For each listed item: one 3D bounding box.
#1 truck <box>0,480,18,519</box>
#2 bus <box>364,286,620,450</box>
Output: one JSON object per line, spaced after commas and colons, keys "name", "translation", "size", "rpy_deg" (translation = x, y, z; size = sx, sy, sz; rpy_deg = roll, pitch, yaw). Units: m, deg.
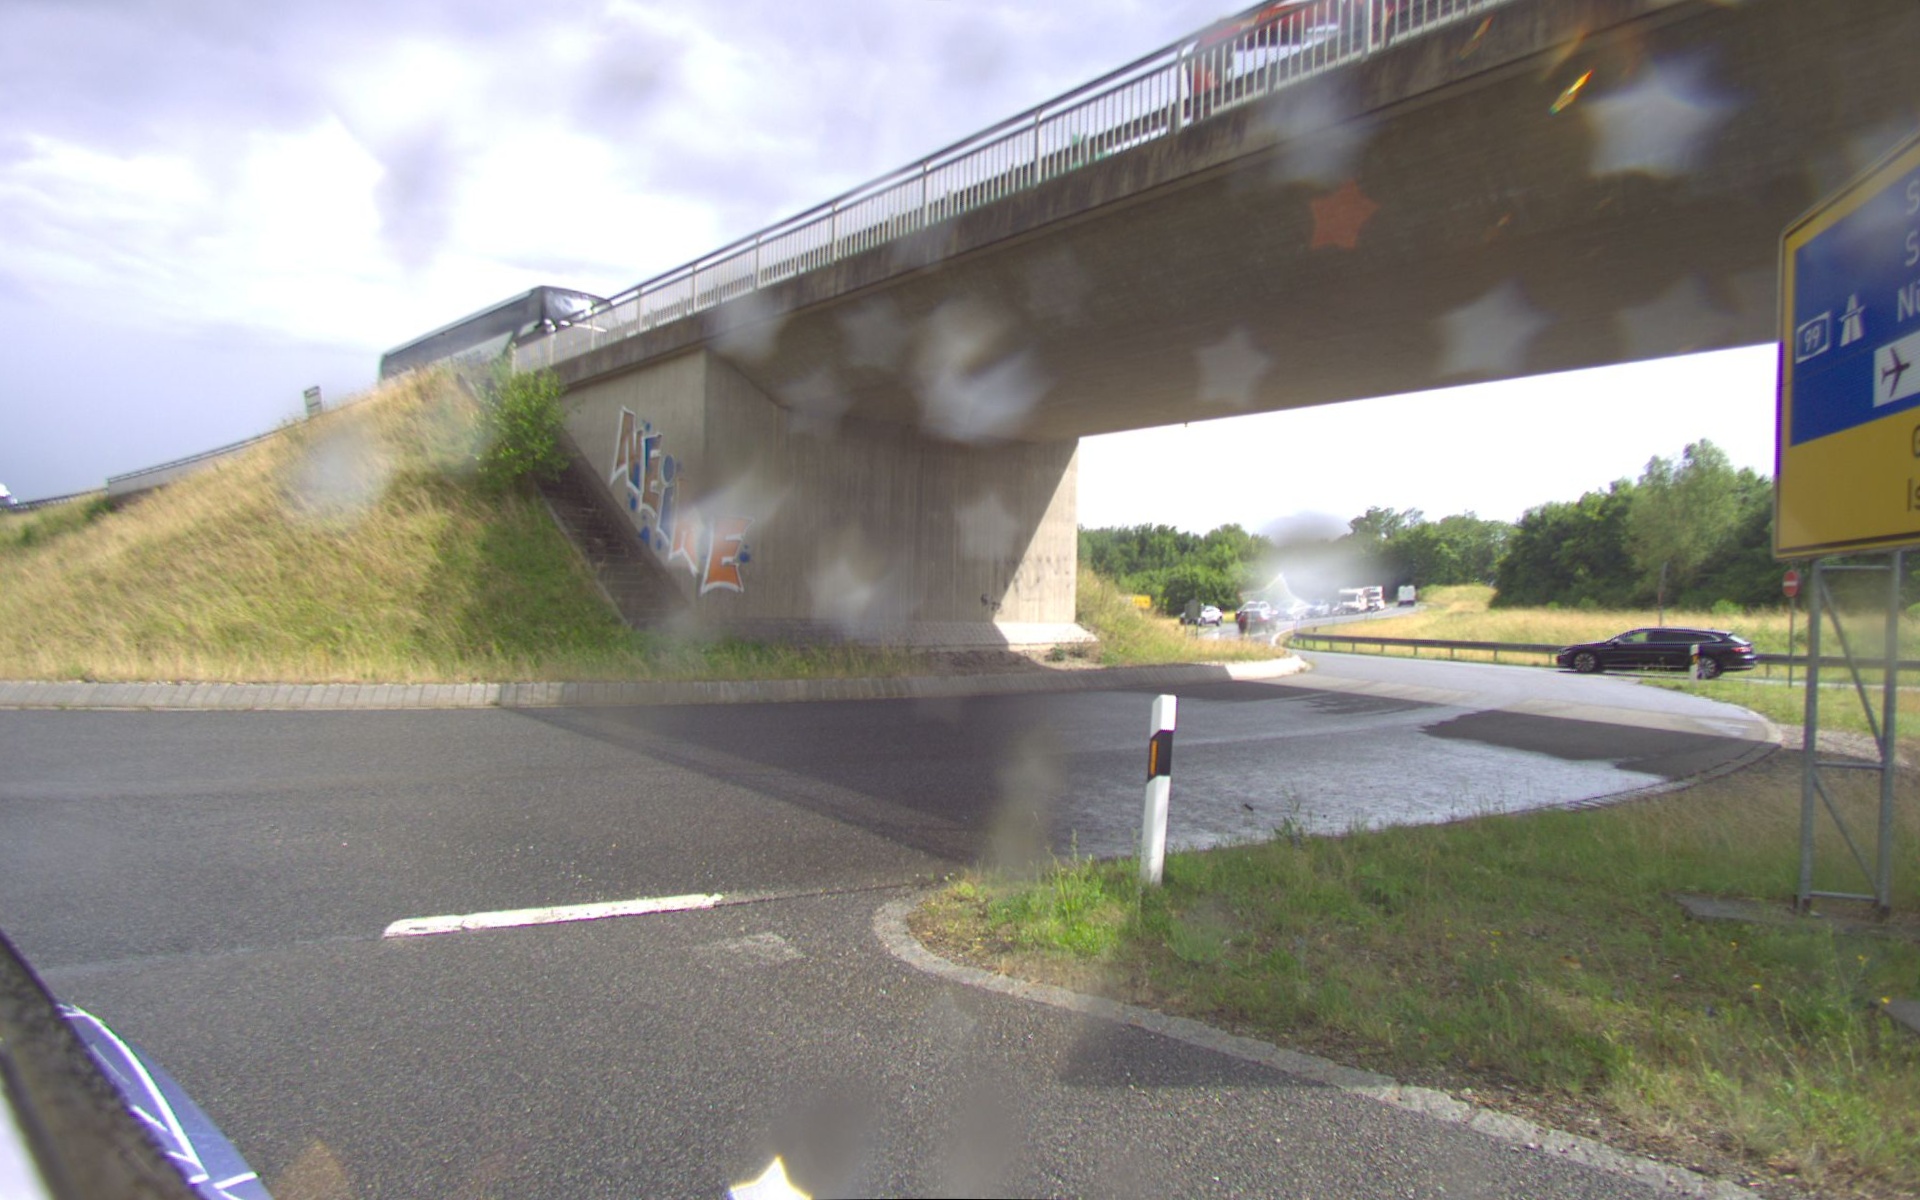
{"name": "truck", "translation": [-86.205, -8.701, 87.952], "size": [9.224, 3.218, 3.135], "rpy_deg": [1, 1, 24]}
{"name": "bus", "translation": [-16.289, -7.356, 34.146], "size": [14.465, 3.102, 2.576], "rpy_deg": [2, 1, 43]}
